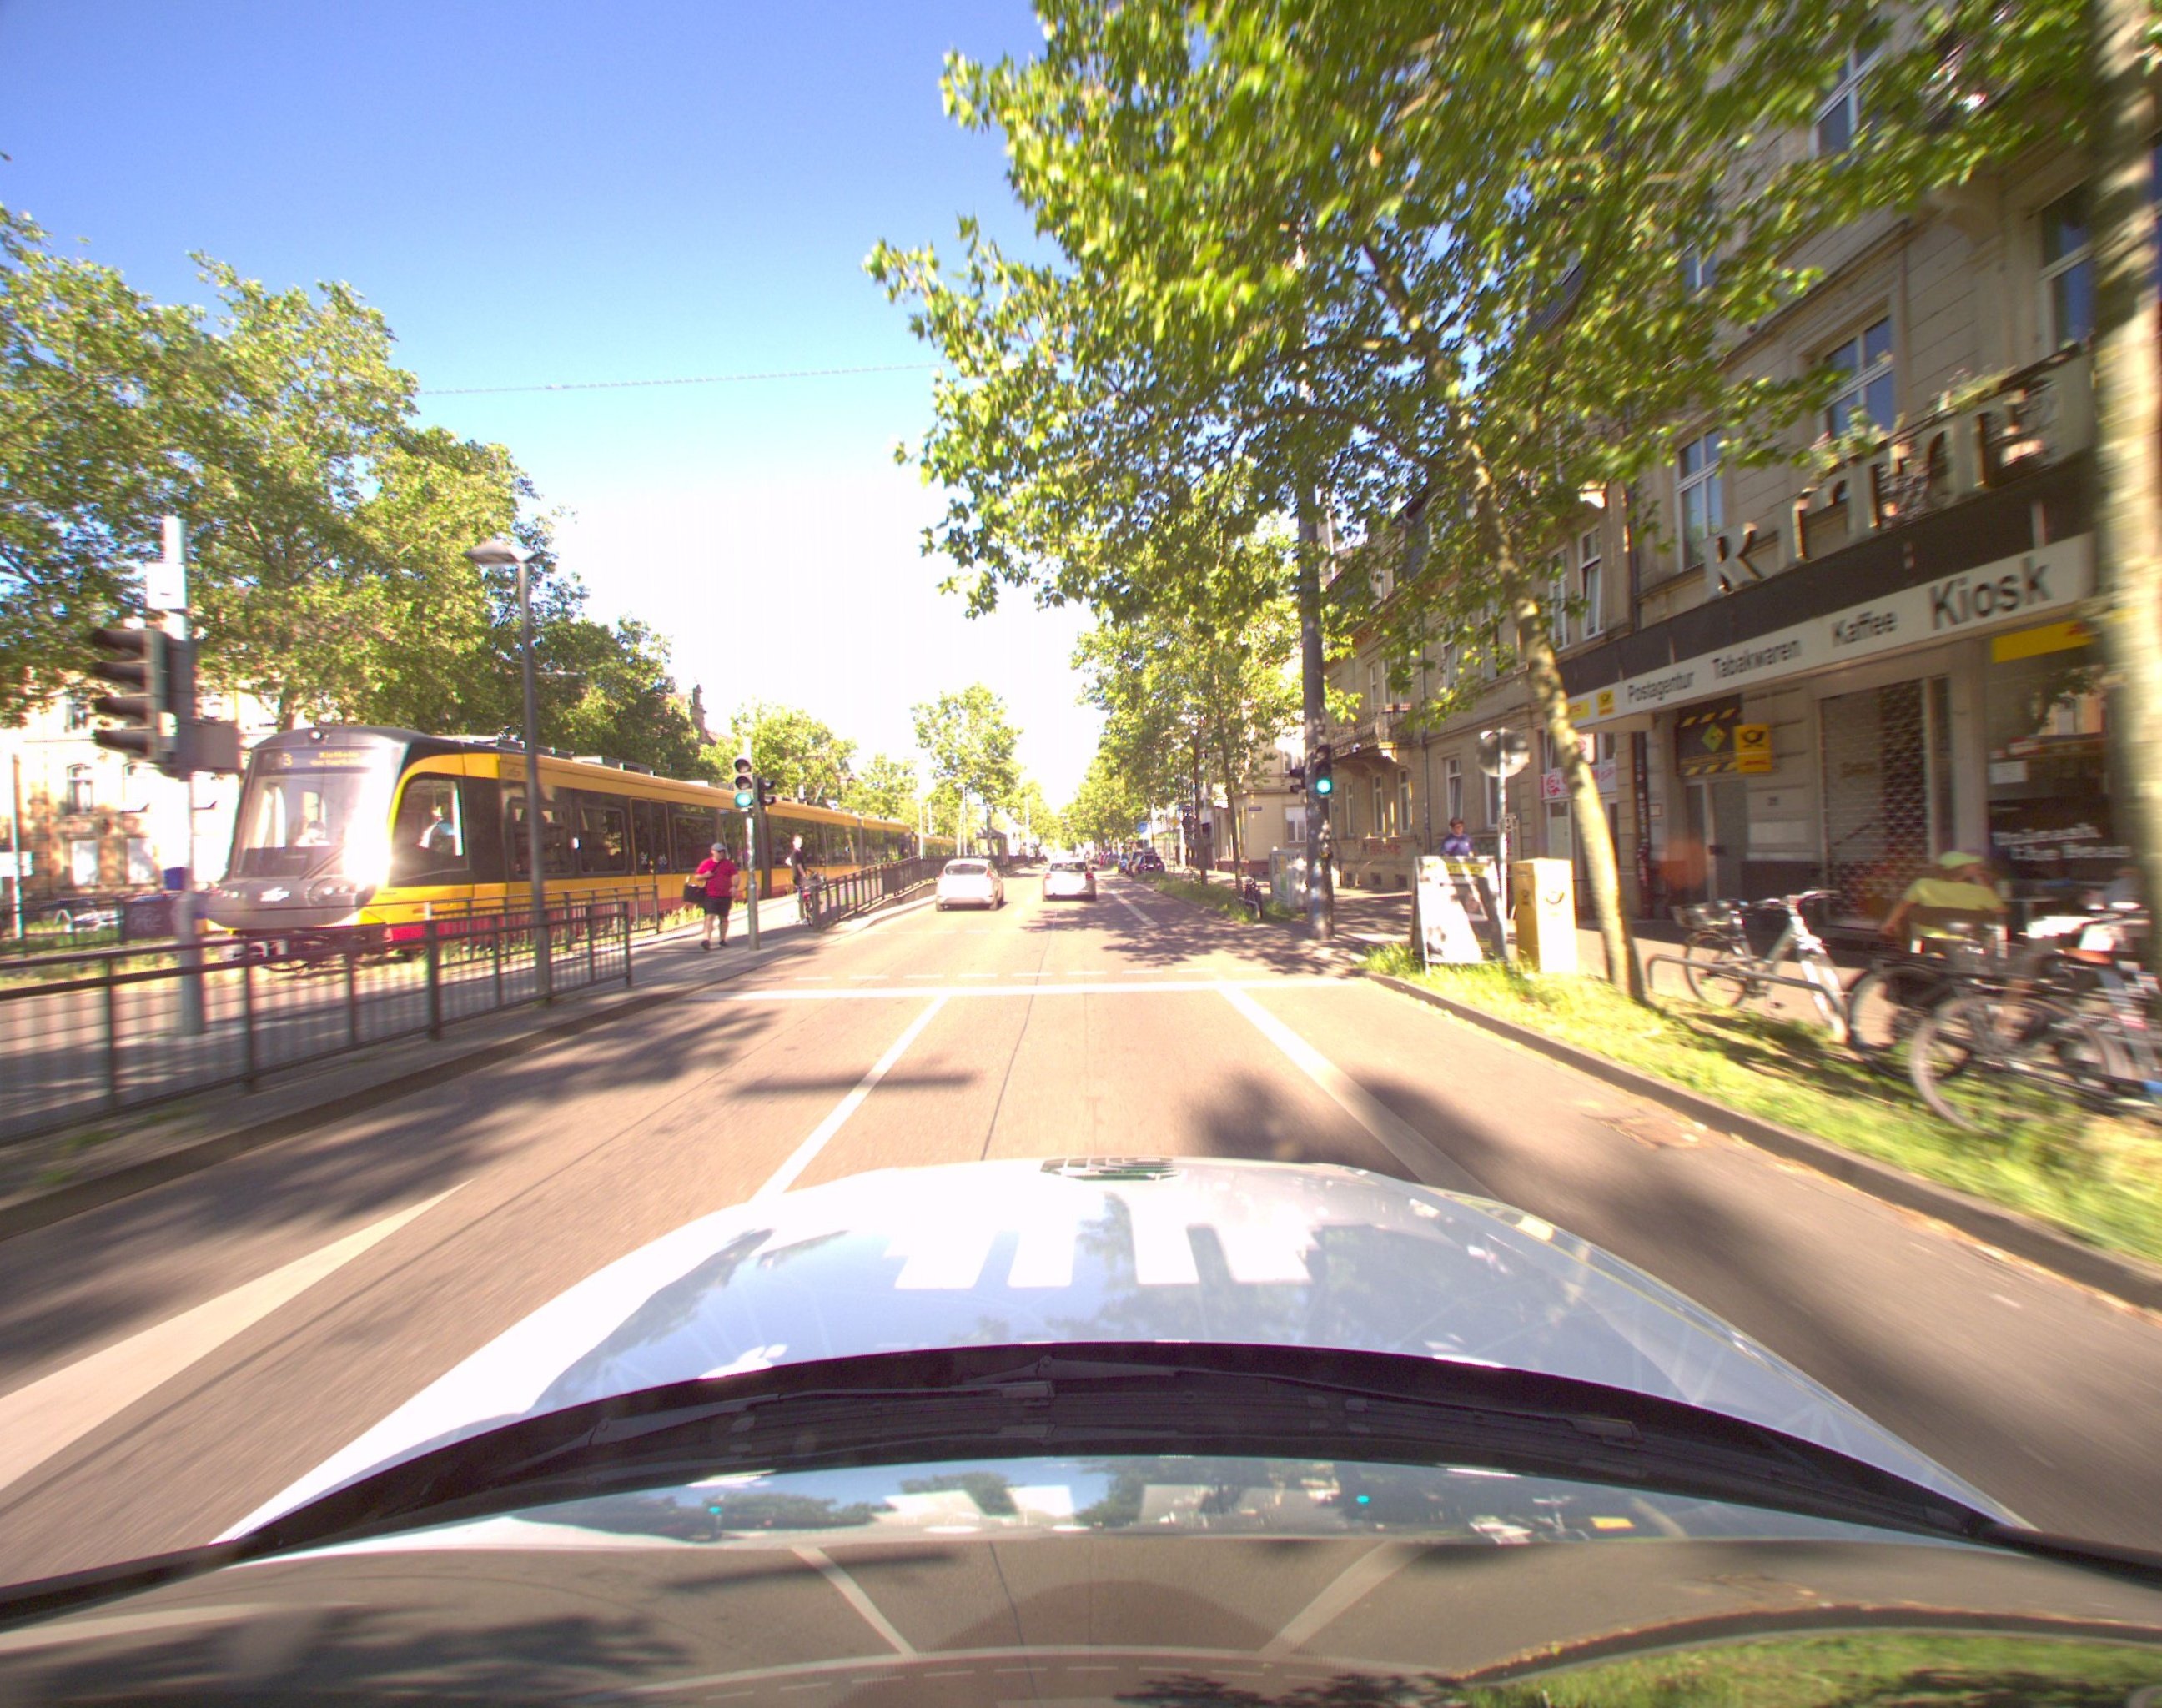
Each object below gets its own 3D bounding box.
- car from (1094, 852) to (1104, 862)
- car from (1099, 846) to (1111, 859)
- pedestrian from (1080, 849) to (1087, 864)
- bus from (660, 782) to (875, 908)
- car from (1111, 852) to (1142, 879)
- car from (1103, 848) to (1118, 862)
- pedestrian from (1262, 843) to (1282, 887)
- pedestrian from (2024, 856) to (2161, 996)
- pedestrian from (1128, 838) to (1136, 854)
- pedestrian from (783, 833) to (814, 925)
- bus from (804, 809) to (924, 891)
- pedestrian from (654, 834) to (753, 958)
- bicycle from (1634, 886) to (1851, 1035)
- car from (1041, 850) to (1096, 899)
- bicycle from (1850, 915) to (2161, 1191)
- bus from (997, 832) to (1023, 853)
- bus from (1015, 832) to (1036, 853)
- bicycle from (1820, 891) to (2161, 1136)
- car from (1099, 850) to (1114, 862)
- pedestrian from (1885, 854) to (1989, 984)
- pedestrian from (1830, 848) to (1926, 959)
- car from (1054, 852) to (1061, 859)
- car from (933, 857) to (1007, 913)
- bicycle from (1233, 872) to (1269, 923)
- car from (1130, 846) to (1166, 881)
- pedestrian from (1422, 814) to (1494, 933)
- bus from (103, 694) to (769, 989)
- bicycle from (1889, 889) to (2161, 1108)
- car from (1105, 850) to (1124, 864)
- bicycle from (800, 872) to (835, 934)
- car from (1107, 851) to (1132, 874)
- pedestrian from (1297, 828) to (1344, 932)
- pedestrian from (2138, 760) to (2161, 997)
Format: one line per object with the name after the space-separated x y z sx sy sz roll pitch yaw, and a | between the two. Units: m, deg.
3.031 0.492 139.073 1.695 1.534 3.716 0 2 -1 | car
3.606 -0.278 122.861 1.719 1.880 3.999 0 1 -1 | car
0.325 0.315 114.075 0.834 2.013 0.649 0 1 6 | pedestrian
-10.384 -0.245 29.076 2.860 3.444 12.211 -2 0 0 | bus
3.086 0.740 56.118 1.793 1.700 4.735 -2 0 -1 | car
3.467 0.147 97.019 1.664 1.551 4.000 0 2 -1 | car
8.031 0.458 34.217 0.563 1.826 0.958 0 1 -4 | pedestrian
9.032 0.608 7.236 0.646 1.161 0.608 -1 2 -12 | pedestrian
6.875 -1.091 110.284 0.961 2.013 0.938 -2 0 -1 | pedestrian
-6.039 0.521 17.401 0.450 1.902 0.583 -2 0 -8 | pedestrian
-10.466 -0.174 40.965 2.860 3.444 11.607 -2 0 0 | bus
-6.182 0.664 13.419 1.070 1.916 1.126 -2 0 -3 | pedestrian
5.540 0.834 6.958 0.441 0.993 1.688 0 2 -2 | bicycle
-0.443 0.653 28.023 1.757 1.432 3.998 0 2 -2 | car
4.519 0.854 3.569 0.443 0.993 1.680 -1 2 -15 | bicycle
-13.361 -2.325 155.753 2.860 3.628 24.600 -2 2 0 | bus
-10.357 -2.220 153.705 2.741 3.625 18.845 -2 2 0 | bus
5.134 0.766 4.548 0.441 0.993 1.688 0 2 -2 | bicycle
3.287 0.200 107.253 1.800 1.520 3.999 0 1 -1 | car
8.216 0.597 7.821 0.775 1.161 0.465 -1 2 -26 | pedestrian
8.918 0.519 9.121 0.655 1.161 0.666 -1 2 -37 | pedestrian
-6.679 0.469 232.073 1.987 2.013 4.000 0 2 -1 | car
-3.129 0.834 23.684 1.641 1.362 3.759 0 2 0 | car
3.759 0.936 18.075 0.426 0.970 1.750 0 2 -1 | bicycle
4.097 0.532 50.276 1.749 1.964 4.736 -2 2 -1 | car
6.549 0.324 14.194 0.878 2.013 0.857 0 1 3 | pedestrian
-10.303 -0.149 16.428 2.860 3.444 13.213 -2 0 0 | bus
5.599 0.756 4.556 0.441 0.993 1.688 0 2 -2 | bicycle
3.748 0.322 91.921 1.987 1.509 4.596 0 1 -1 | car
-5.612 1.005 17.407 0.328 1.214 1.824 -2 0 -7 | bicycle
3.047 0.659 65.530 1.687 1.657 4.038 -2 2 -1 | car
4.212 0.430 14.375 0.639 1.771 0.870 0 1 5 | pedestrian
8.388 0.193 5.989 0.463 1.810 0.779 1 2 31 | pedestrian
